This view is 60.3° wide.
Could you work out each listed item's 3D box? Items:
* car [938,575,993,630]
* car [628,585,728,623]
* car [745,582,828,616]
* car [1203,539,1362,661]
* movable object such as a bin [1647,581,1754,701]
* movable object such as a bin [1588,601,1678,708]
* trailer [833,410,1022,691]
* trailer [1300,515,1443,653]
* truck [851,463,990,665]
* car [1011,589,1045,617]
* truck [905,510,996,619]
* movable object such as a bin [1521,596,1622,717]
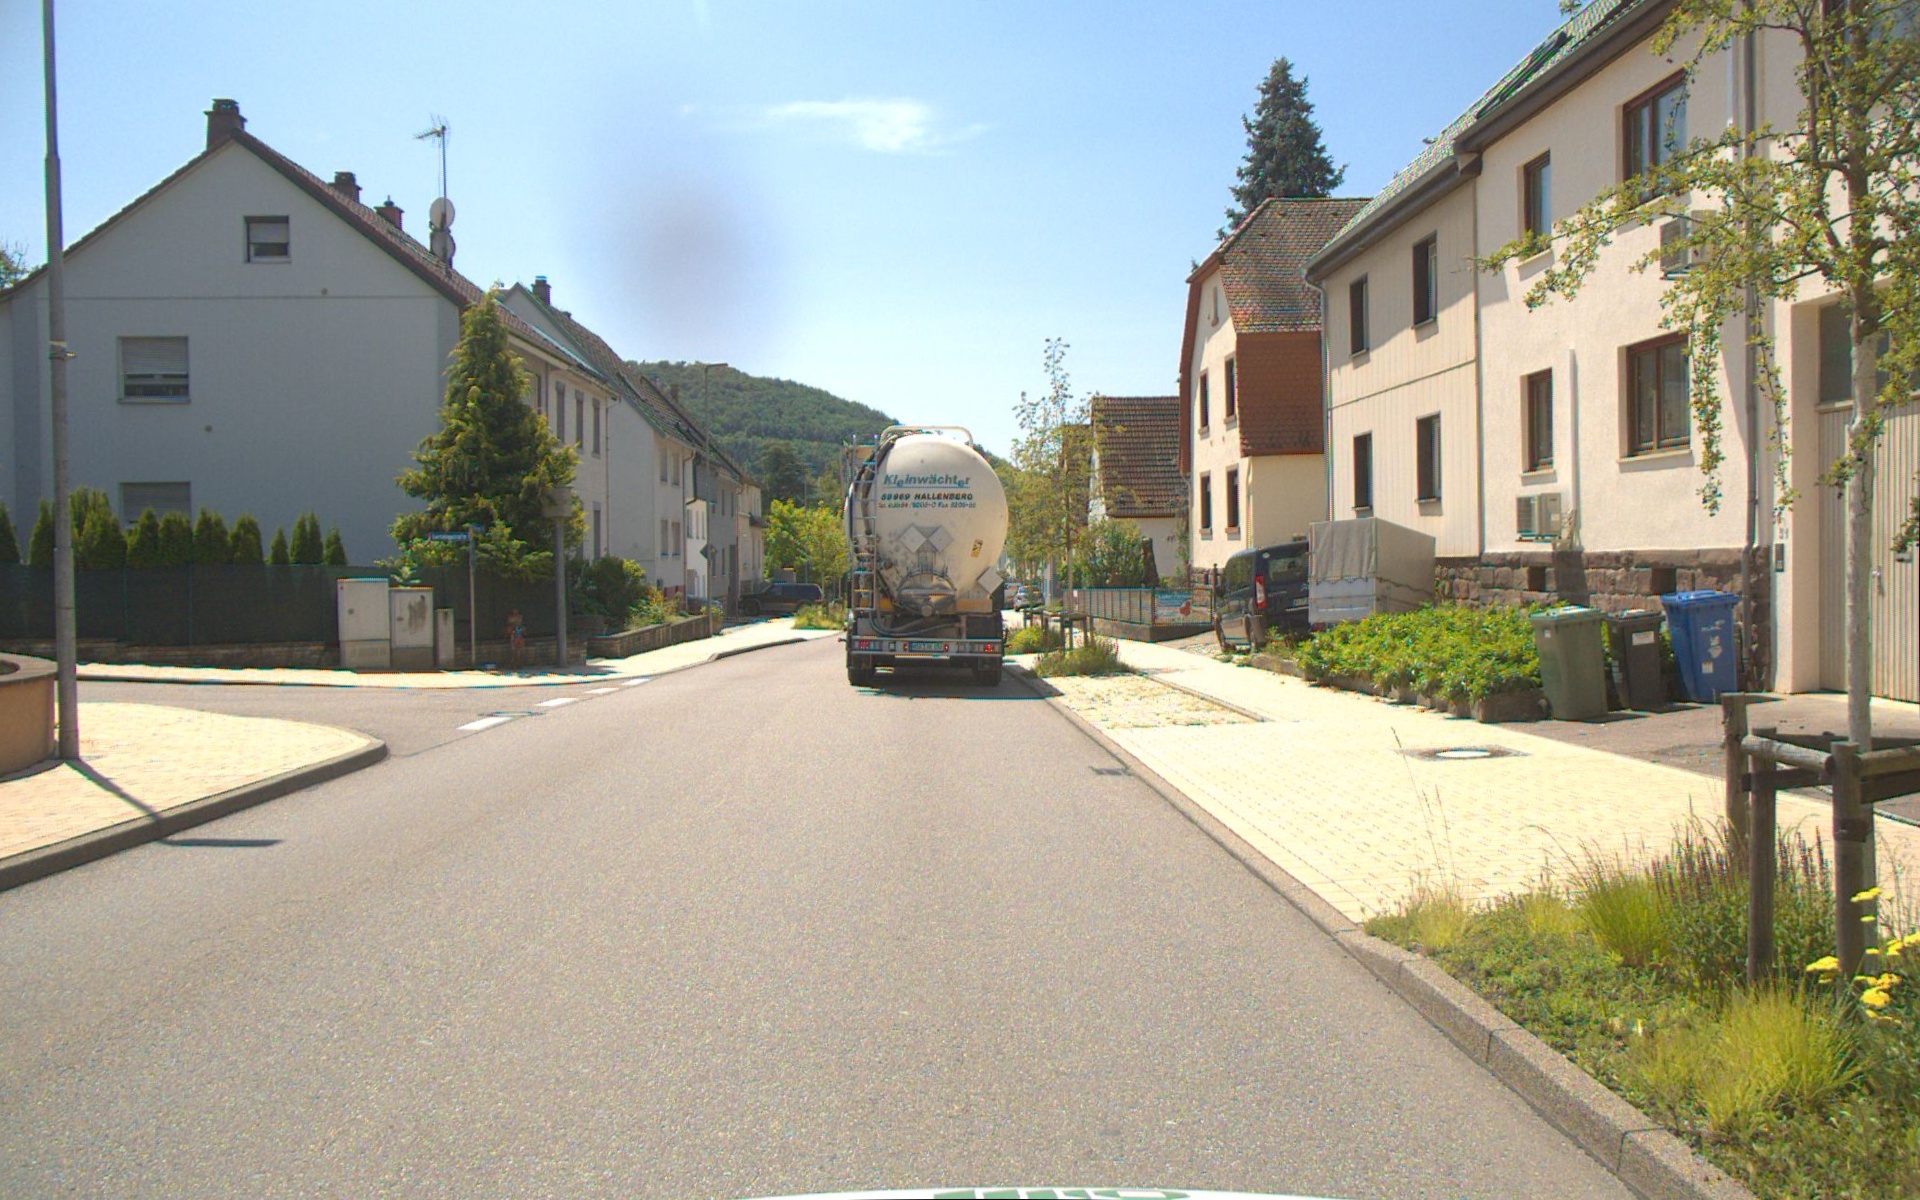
[{"bbox_3d":[0.174,0.089,60.147,1.953,1.937,4.000,0,0,-1],"label":"car"},{"bbox_3d":[-11.798,0.157,69.444,3.906,1.572,1.832,0,0,-1],"label":"car"},{"bbox_3d":[-9.234,-0.082,88.263,4.306,1.781,1.877,0,0,-3],"label":"car"},{"bbox_3d":[5.852,-0.003,30.586,1.815,2.005,4.772,-3,0,-2],"label":"car"},{"bbox_3d":[7.429,0.402,16.630,0.671,1.125,0.863,-4,0,5],"label":"movable object such as a bin"},{"bbox_3d":[6.763,0.533,16.643,0.546,1.003,0.803,-5,0,5],"label":"movable object such as a bin"},{"bbox_3d":[-0.629,-0.737,29.165,2.740,4.071,10.320,0,0,-2],"label":"trailer"},{"bbox_3d":[6.441,-0.242,25.806,1.300,2.049,2.261,0,0,40],"label":"trailer"},{"bbox_3d":[-0.795,-0.732,36.020,2.751,4.006,6.098,0,0,0],"label":"truck"},{"bbox_3d":[4.066,0.166,99.036,1.754,1.568,4.519,-3,0,0],"label":"car"},{"bbox_3d":[-0.611,-1.717,82.624,3.833,4.981,9.789,-2,0,-4],"label":"truck"},{"bbox_3d":[6.088,0.550,16.496,0.670,1.134,0.812,-4,0,4],"label":"movable object such as a bin"}]
